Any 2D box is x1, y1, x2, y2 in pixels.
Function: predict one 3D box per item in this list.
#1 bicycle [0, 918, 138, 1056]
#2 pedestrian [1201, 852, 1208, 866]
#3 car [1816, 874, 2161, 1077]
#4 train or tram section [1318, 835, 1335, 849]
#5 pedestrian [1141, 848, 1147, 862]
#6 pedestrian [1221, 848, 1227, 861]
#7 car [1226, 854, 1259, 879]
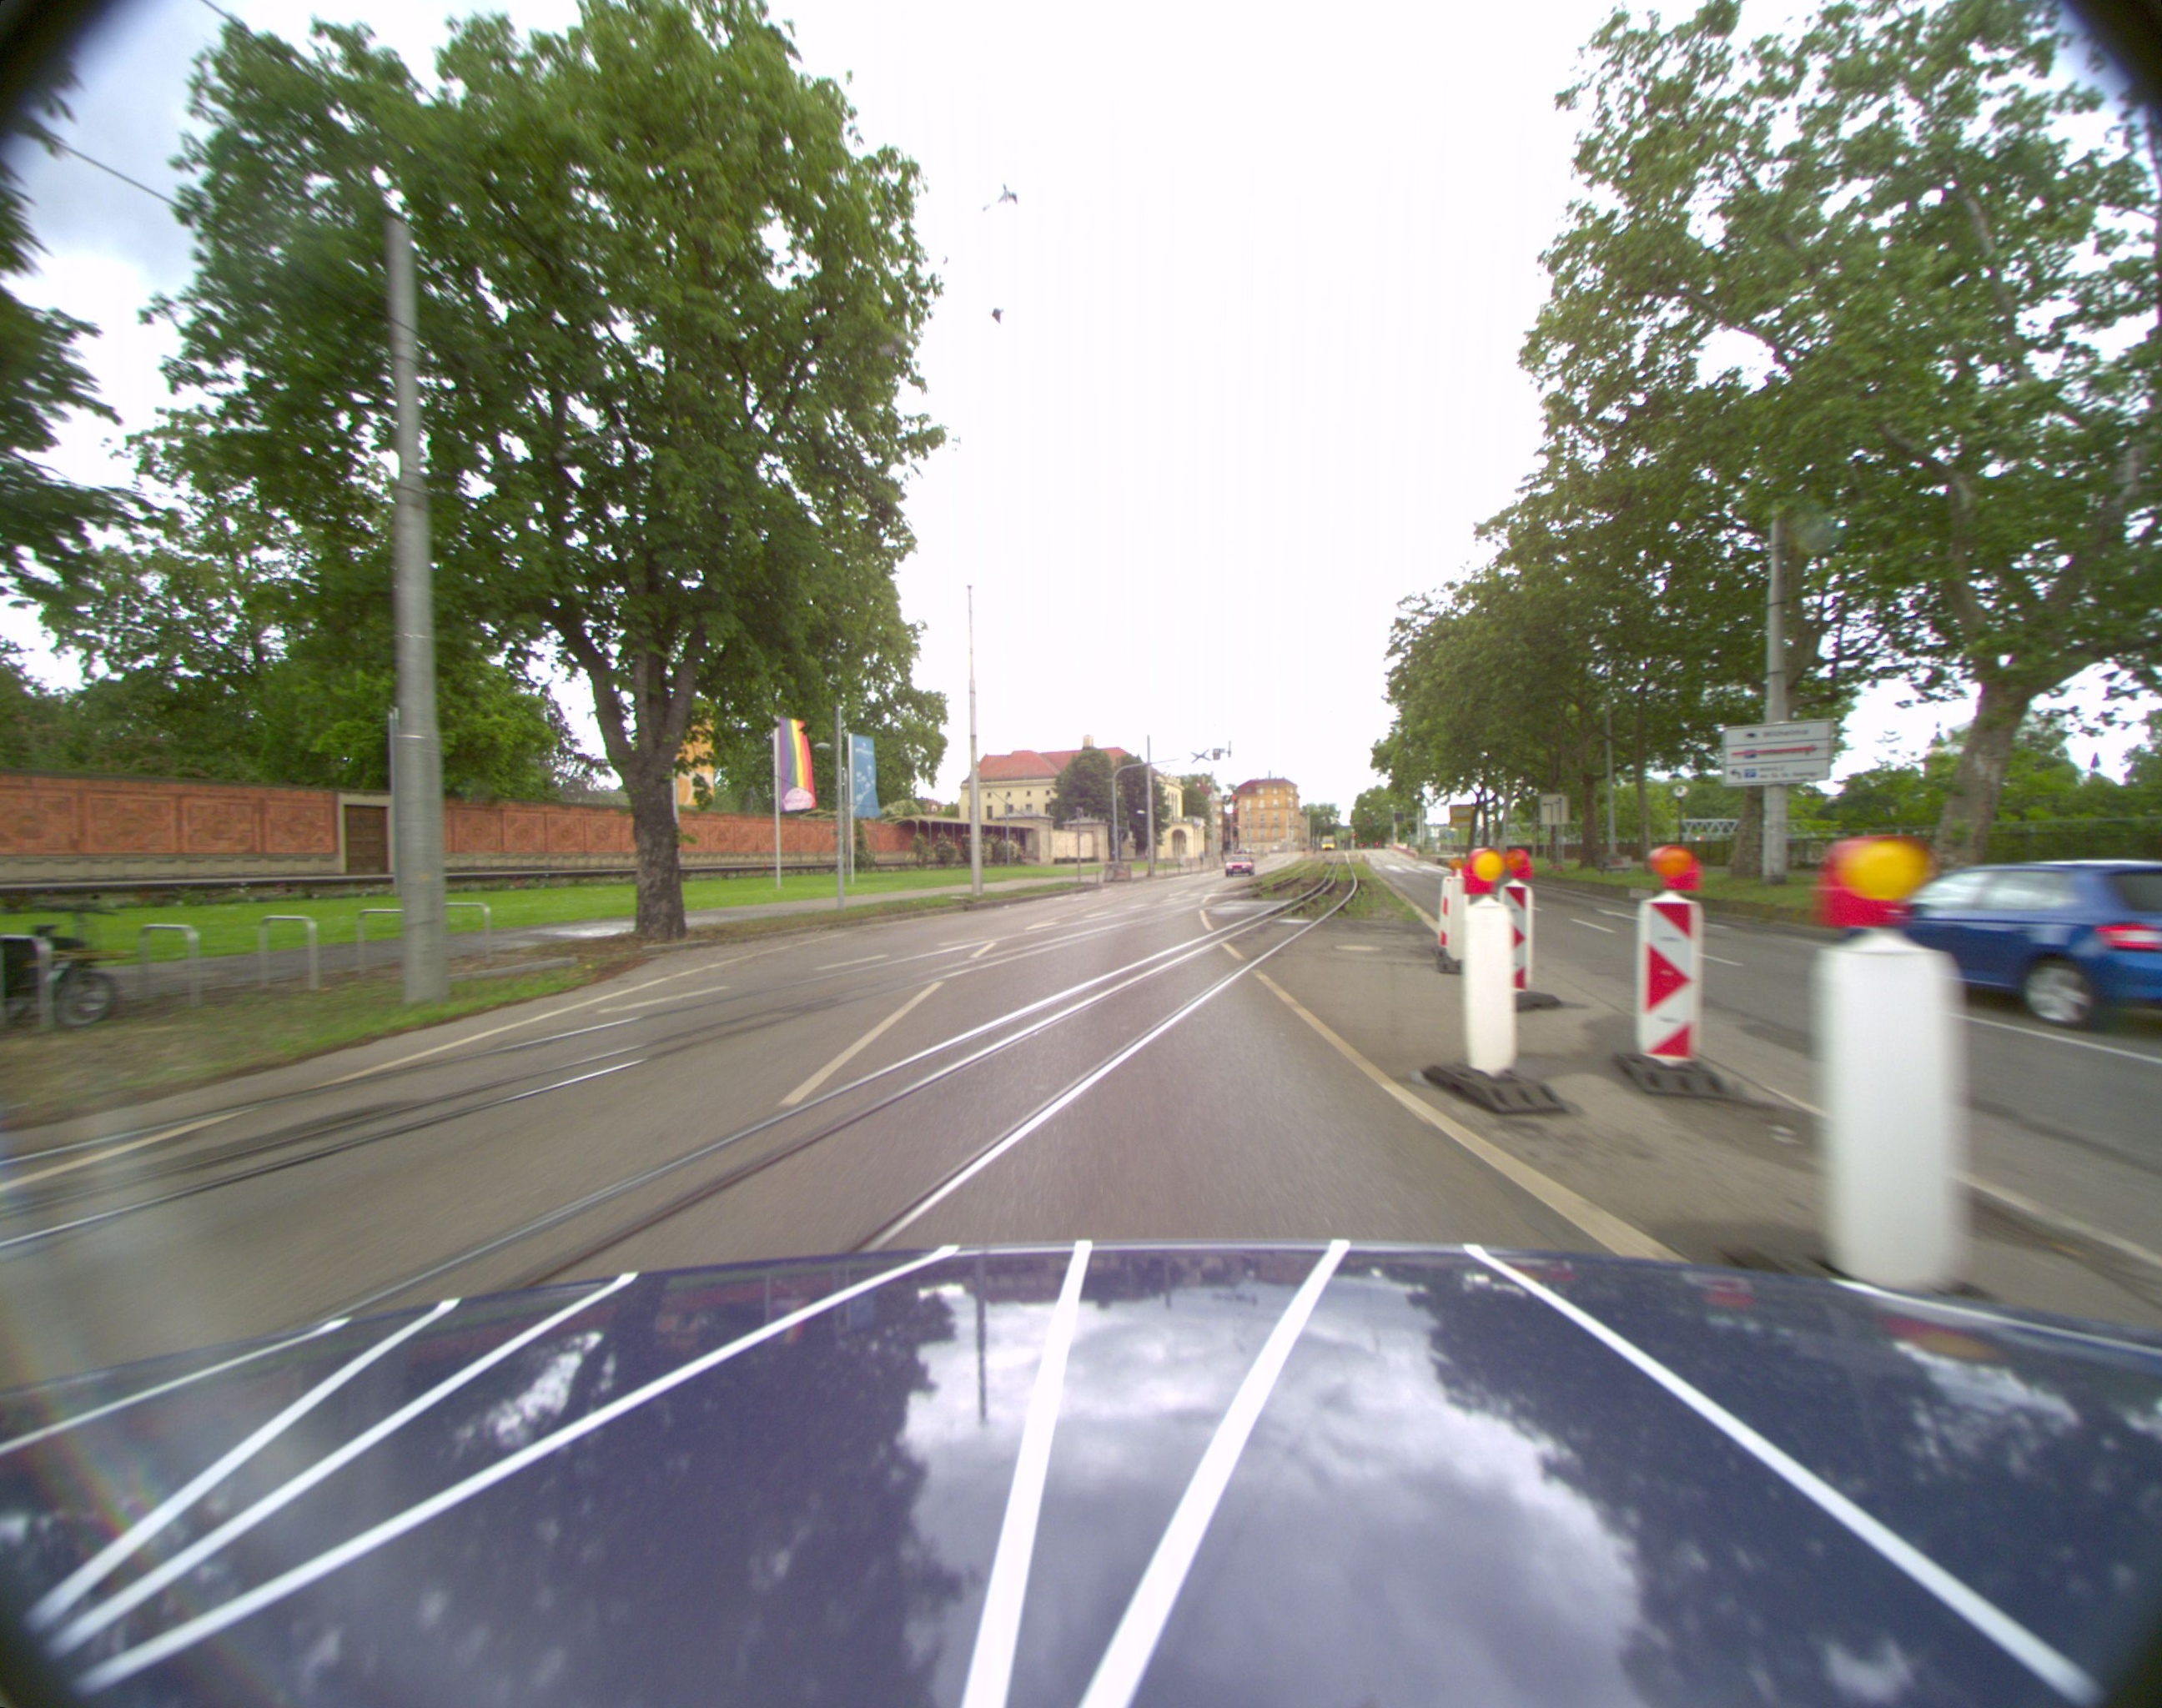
[{"bbox_3d":[-10.483,1.271,7.634,1.993,1.151,0.742,-1,1,24],"label":"bicycle"},{"bbox_3d":[14.985,0.605,92.480,0.671,1.758,0.938,-1,1,19],"label":"pedestrian"},{"bbox_3d":[9.388,0.948,7.303,1.697,1.453,3.918,0,0,16],"label":"car"},{"bbox_3d":[60.764,-3.088,187.987,3.734,3.346,17.576,0,2,18],"label":"train or tram section"},{"bbox_3d":[8.080,0.182,97.706,0.595,1.782,0.809,-1,1,19],"label":"pedestrian"},{"bbox_3d":[19.304,0.060,102.532,0.671,1.758,0.938,-1,1,19],"label":"pedestrian"},{"bbox_3d":[10.765,0.793,50.476,1.679,1.433,4.125,-3,0,18],"label":"car"}]
